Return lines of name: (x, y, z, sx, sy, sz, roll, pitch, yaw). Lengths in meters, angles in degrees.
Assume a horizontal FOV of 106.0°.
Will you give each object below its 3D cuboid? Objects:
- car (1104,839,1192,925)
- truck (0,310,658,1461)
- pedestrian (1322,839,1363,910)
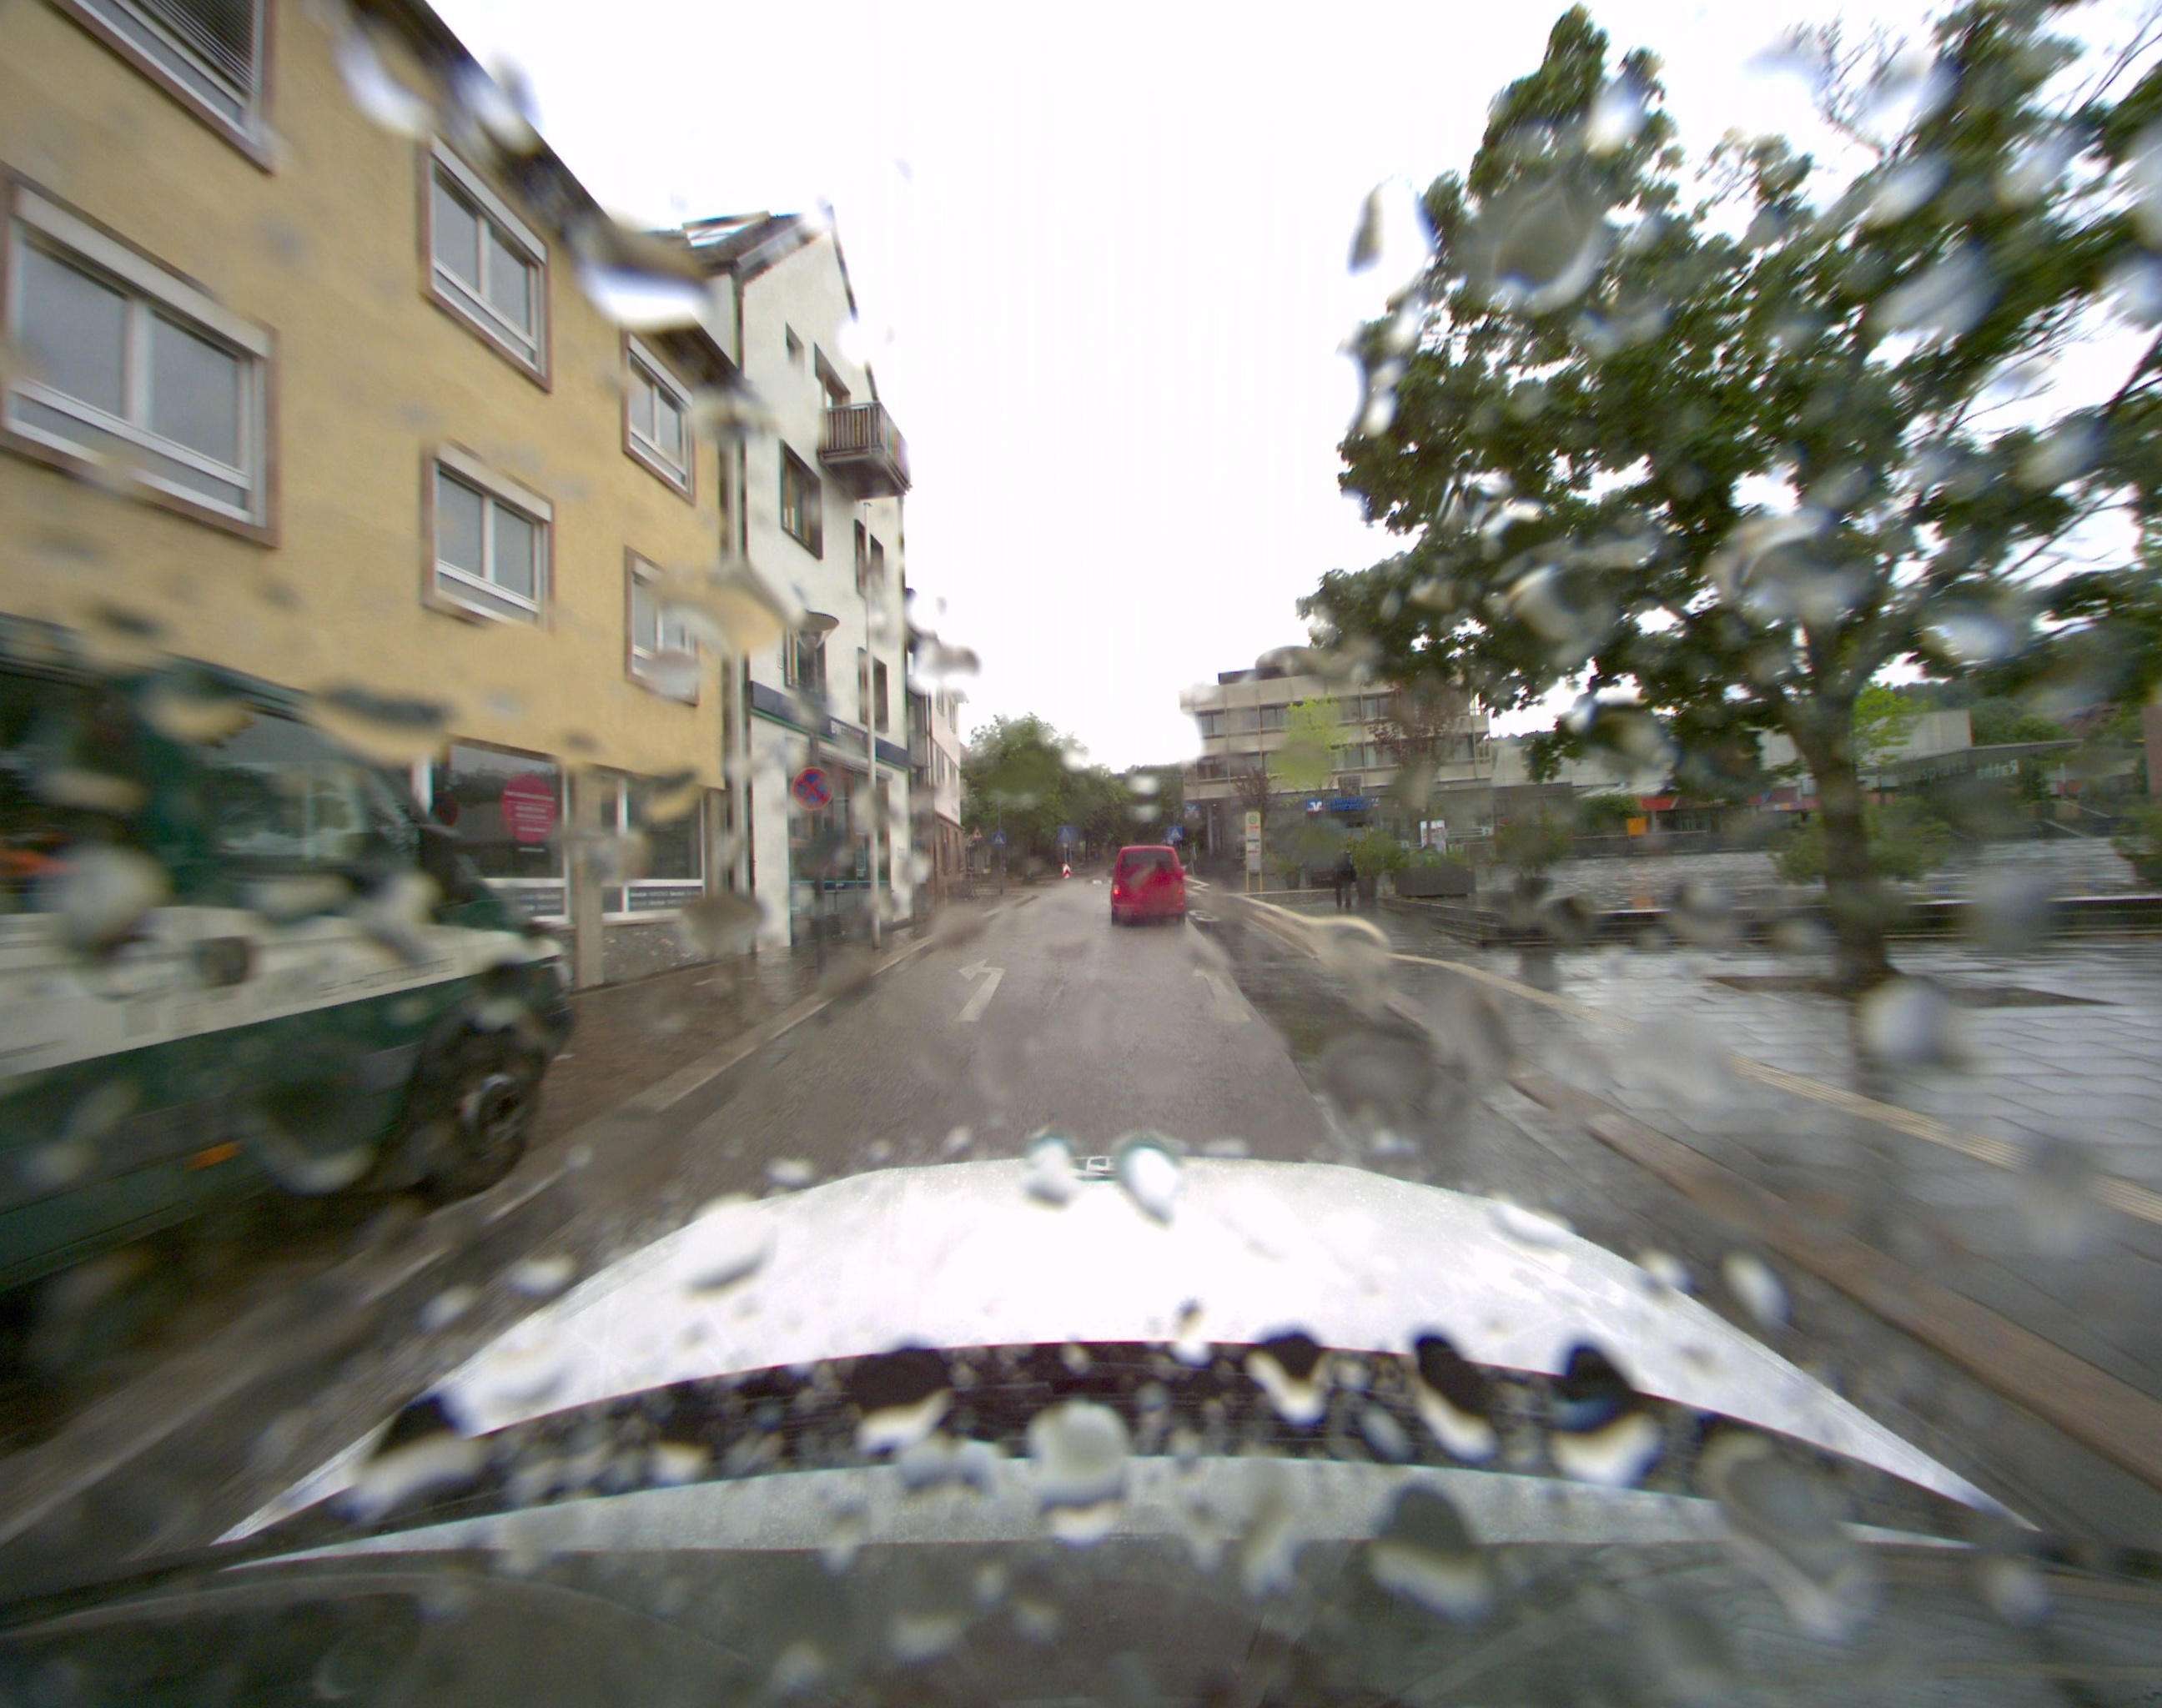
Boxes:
car: (1.555, 0.672, 20.314, 1.855, 1.831, 4.186, -3, -1, 1)
truck: (-3.855, 0.107, 1.564, 2.465, 2.795, 6.598, -3, 0, 0)
pedestrian: (6.219, 0.479, 19.425, 0.724, 1.617, 0.695, -4, -2, 7)
